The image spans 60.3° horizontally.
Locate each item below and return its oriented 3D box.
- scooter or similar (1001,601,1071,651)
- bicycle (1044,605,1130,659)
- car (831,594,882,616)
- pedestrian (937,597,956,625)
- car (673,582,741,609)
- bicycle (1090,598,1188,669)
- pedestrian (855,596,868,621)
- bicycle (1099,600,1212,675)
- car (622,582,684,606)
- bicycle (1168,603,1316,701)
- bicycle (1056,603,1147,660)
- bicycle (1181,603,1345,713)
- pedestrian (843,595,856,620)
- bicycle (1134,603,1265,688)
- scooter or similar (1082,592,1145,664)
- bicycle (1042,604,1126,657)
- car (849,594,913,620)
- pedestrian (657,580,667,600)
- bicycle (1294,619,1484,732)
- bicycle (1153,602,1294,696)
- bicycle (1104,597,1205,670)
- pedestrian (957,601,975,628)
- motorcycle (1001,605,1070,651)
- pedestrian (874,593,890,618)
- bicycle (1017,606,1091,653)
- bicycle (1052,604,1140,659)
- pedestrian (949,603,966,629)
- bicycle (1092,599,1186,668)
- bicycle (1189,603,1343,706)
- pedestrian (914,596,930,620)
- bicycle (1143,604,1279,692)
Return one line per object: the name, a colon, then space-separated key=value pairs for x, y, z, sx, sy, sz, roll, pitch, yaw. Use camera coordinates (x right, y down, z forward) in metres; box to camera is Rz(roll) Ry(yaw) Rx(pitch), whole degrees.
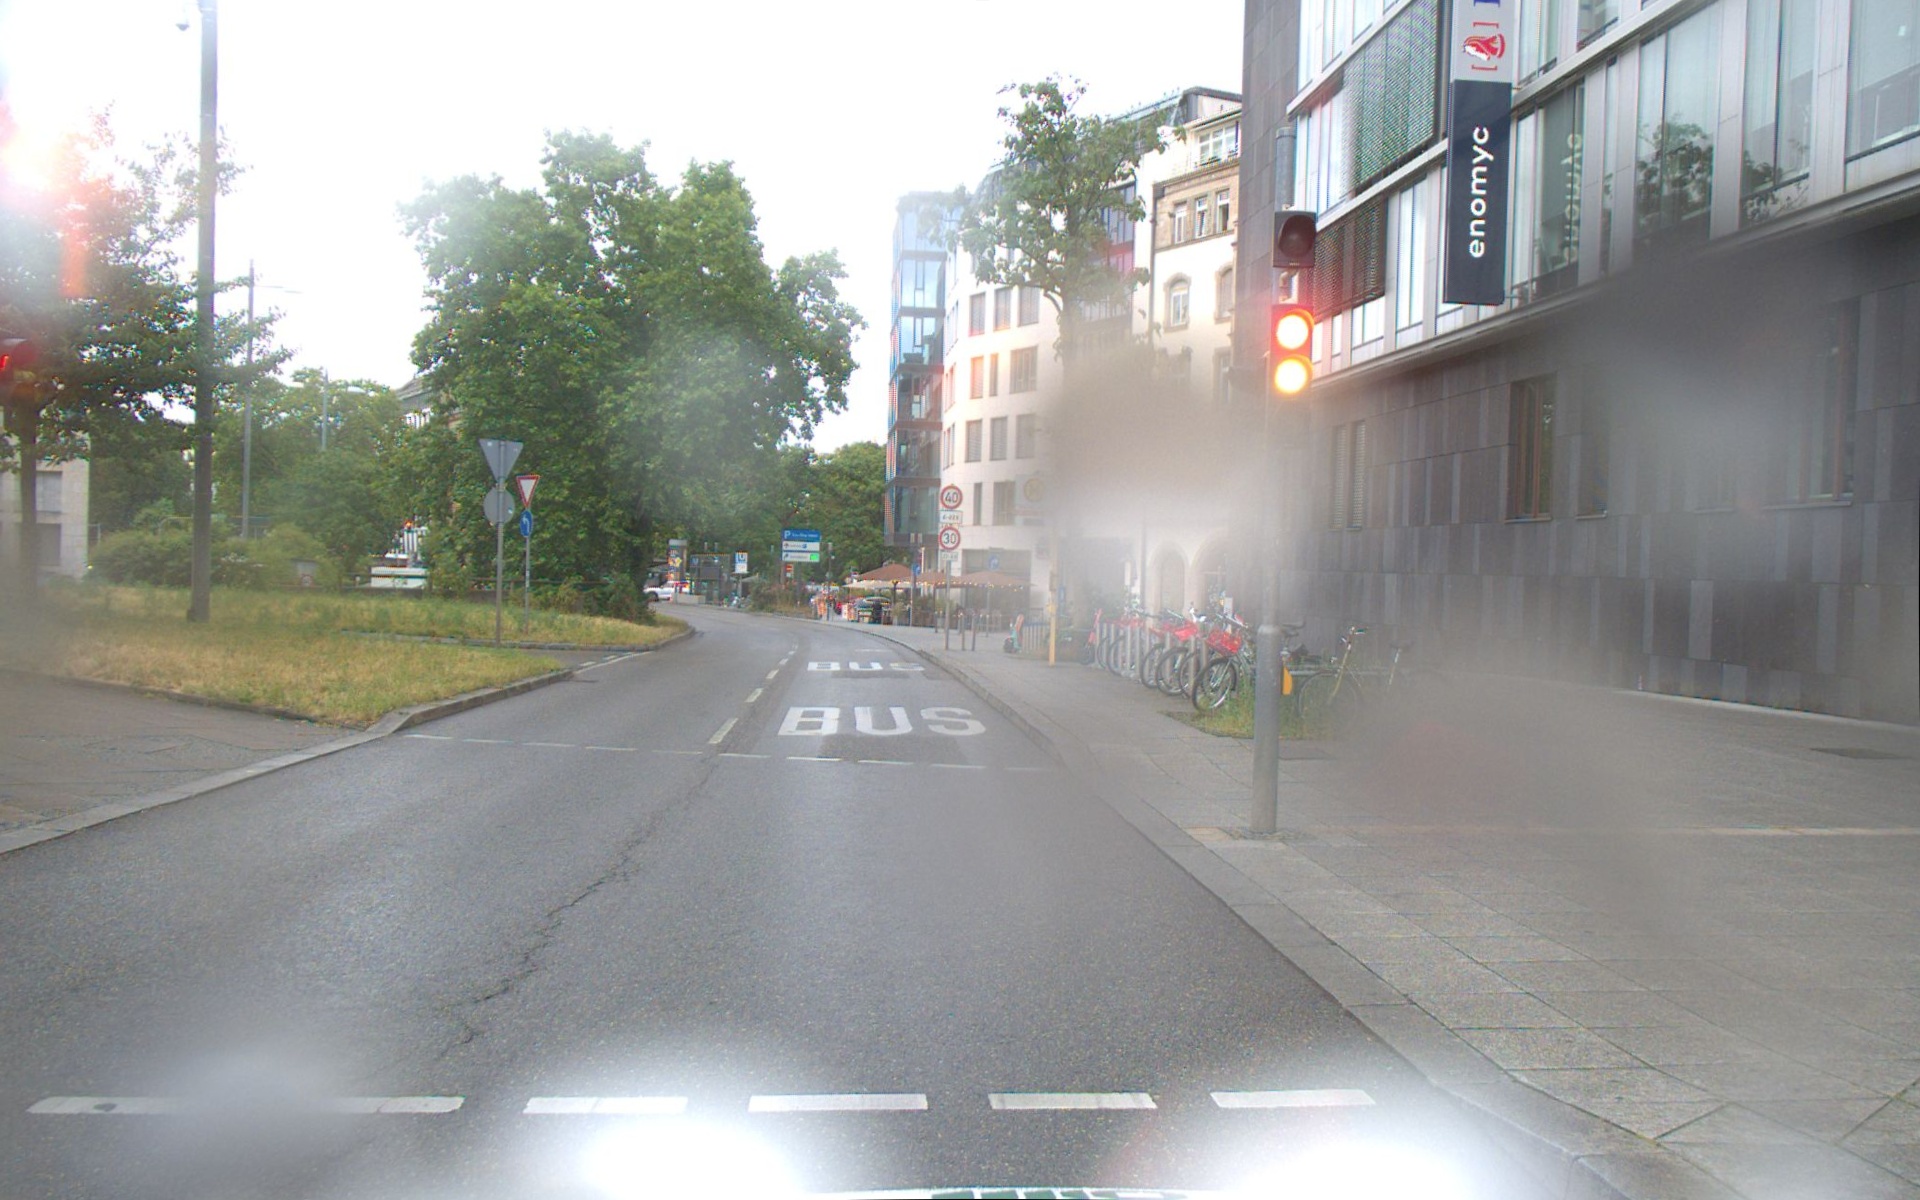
scooter or similar: x=2.062 y=0.712 z=44.718 sx=1.759 sy=1.265 sz=0.594 roll=3 pitch=-1 yaw=-10
bicycle: x=2.766 y=0.693 z=36.135 sx=1.761 sy=1.087 sz=0.555 roll=3 pitch=-1 yaw=-10
car: x=-8.271 y=0.410 z=131.680 sx=3.928 sy=1.536 sz=1.790 roll=3 pitch=1 yaw=41
pedestrian: x=-0.670 y=0.537 z=80.838 sx=0.759 sy=1.349 sz=0.634 roll=4 pitch=-1 yaw=-9
car: x=-18.401 y=-0.356 z=120.474 sx=4.643 sy=1.720 sz=2.003 roll=3 pitch=0 yaw=-5
bicycle: x=3.039 y=0.565 z=28.154 sx=1.507 sy=1.160 sz=0.687 roll=2 pitch=-1 yaw=-11
pedestrian: x=-5.584 y=0.485 z=93.853 sx=0.595 sy=1.349 sz=0.566 roll=4 pitch=-1 yaw=-9
bicycle: x=3.138 y=0.604 z=26.610 sx=1.675 sy=1.160 sz=0.687 roll=2 pitch=-1 yaw=-11
car: x=-23.581 y=-0.474 z=127.116 sx=4.239 sy=1.695 sz=1.955 roll=2 pitch=-1 yaw=8
bicycle: x=3.533 y=0.648 z=20.790 sx=1.698 sy=1.204 sz=0.687 roll=1 pitch=0 yaw=-11
bicycle: x=2.946 y=0.662 z=34.485 sx=1.761 sy=1.087 sz=0.555 roll=3 pitch=-1 yaw=-10
bicycle: x=3.442 y=0.654 z=18.826 sx=1.698 sy=1.204 sz=0.687 roll=1 pitch=0 yaw=-11
pedestrian: x=-6.269 y=0.432 z=93.767 sx=0.595 sy=1.349 sz=0.566 roll=4 pitch=-1 yaw=-9
bicycle: x=3.379 y=0.642 z=23.393 sx=1.698 sy=1.160 sz=0.687 roll=1 pitch=0 yaw=-11
scooter or similar: x=2.796 y=0.504 z=30.149 sx=1.086 sy=1.280 sz=0.302 roll=2 pitch=-1 yaw=-12
bicycle: x=2.847 y=0.703 z=38.028 sx=1.762 sy=1.127 sz=0.668 roll=3 pitch=-1 yaw=-11
car: x=-5.948 y=0.509 z=124.594 sx=4.643 sy=1.720 sz=2.003 roll=3 pitch=0 yaw=-5
pedestrian: x=-25.047 y=-0.832 z=139.113 sx=0.707 sy=1.731 sz=0.618 roll=1 pitch=-1 yaw=3
bicycle: x=4.272 y=0.744 z=16.508 sx=1.698 sy=1.089 sz=0.687 roll=1 pitch=0 yaw=-11
bicycle: x=3.460 y=0.640 z=21.765 sx=1.698 sy=1.204 sz=0.687 roll=1 pitch=0 yaw=-11
bicycle: x=3.213 y=0.556 z=27.392 sx=1.507 sy=1.160 sz=0.687 roll=2 pitch=-1 yaw=-11
pedestrian: x=0.326 y=0.740 z=86.132 sx=0.620 sy=1.349 sz=0.630 roll=4 pitch=-1 yaw=-29
motorcycle: x=2.067 y=0.776 z=45.497 sx=1.759 sy=1.159 sz=0.594 roll=3 pitch=-1 yaw=-10
pedestrian: x=-4.521 y=0.325 z=95.798 sx=0.802 sy=1.349 sz=0.634 roll=4 pitch=-1 yaw=-9
bicycle: x=2.417 y=0.754 z=42.658 sx=1.762 sy=1.127 sz=0.668 roll=3 pitch=-1 yaw=-11
bicycle: x=2.915 y=0.681 z=35.389 sx=1.761 sy=1.087 sz=0.555 roll=3 pitch=-1 yaw=-10
pedestrian: x=-0.147 y=0.839 z=87.425 sx=0.620 sy=1.349 sz=0.630 roll=4 pitch=-1 yaw=-29
bicycle: x=3.130 y=0.586 z=29.013 sx=1.507 sy=1.160 sz=0.661 roll=2 pitch=-1 yaw=-11
bicycle: x=3.687 y=0.651 z=19.983 sx=1.698 sy=1.204 sz=0.687 roll=1 pitch=0 yaw=-11
pedestrian: x=-2.198 y=0.455 z=96.221 sx=0.802 sy=1.349 sz=0.634 roll=4 pitch=-1 yaw=-9
bicycle: x=3.422 y=0.650 z=22.612 sx=1.698 sy=1.160 sz=0.687 roll=1 pitch=0 yaw=-11
